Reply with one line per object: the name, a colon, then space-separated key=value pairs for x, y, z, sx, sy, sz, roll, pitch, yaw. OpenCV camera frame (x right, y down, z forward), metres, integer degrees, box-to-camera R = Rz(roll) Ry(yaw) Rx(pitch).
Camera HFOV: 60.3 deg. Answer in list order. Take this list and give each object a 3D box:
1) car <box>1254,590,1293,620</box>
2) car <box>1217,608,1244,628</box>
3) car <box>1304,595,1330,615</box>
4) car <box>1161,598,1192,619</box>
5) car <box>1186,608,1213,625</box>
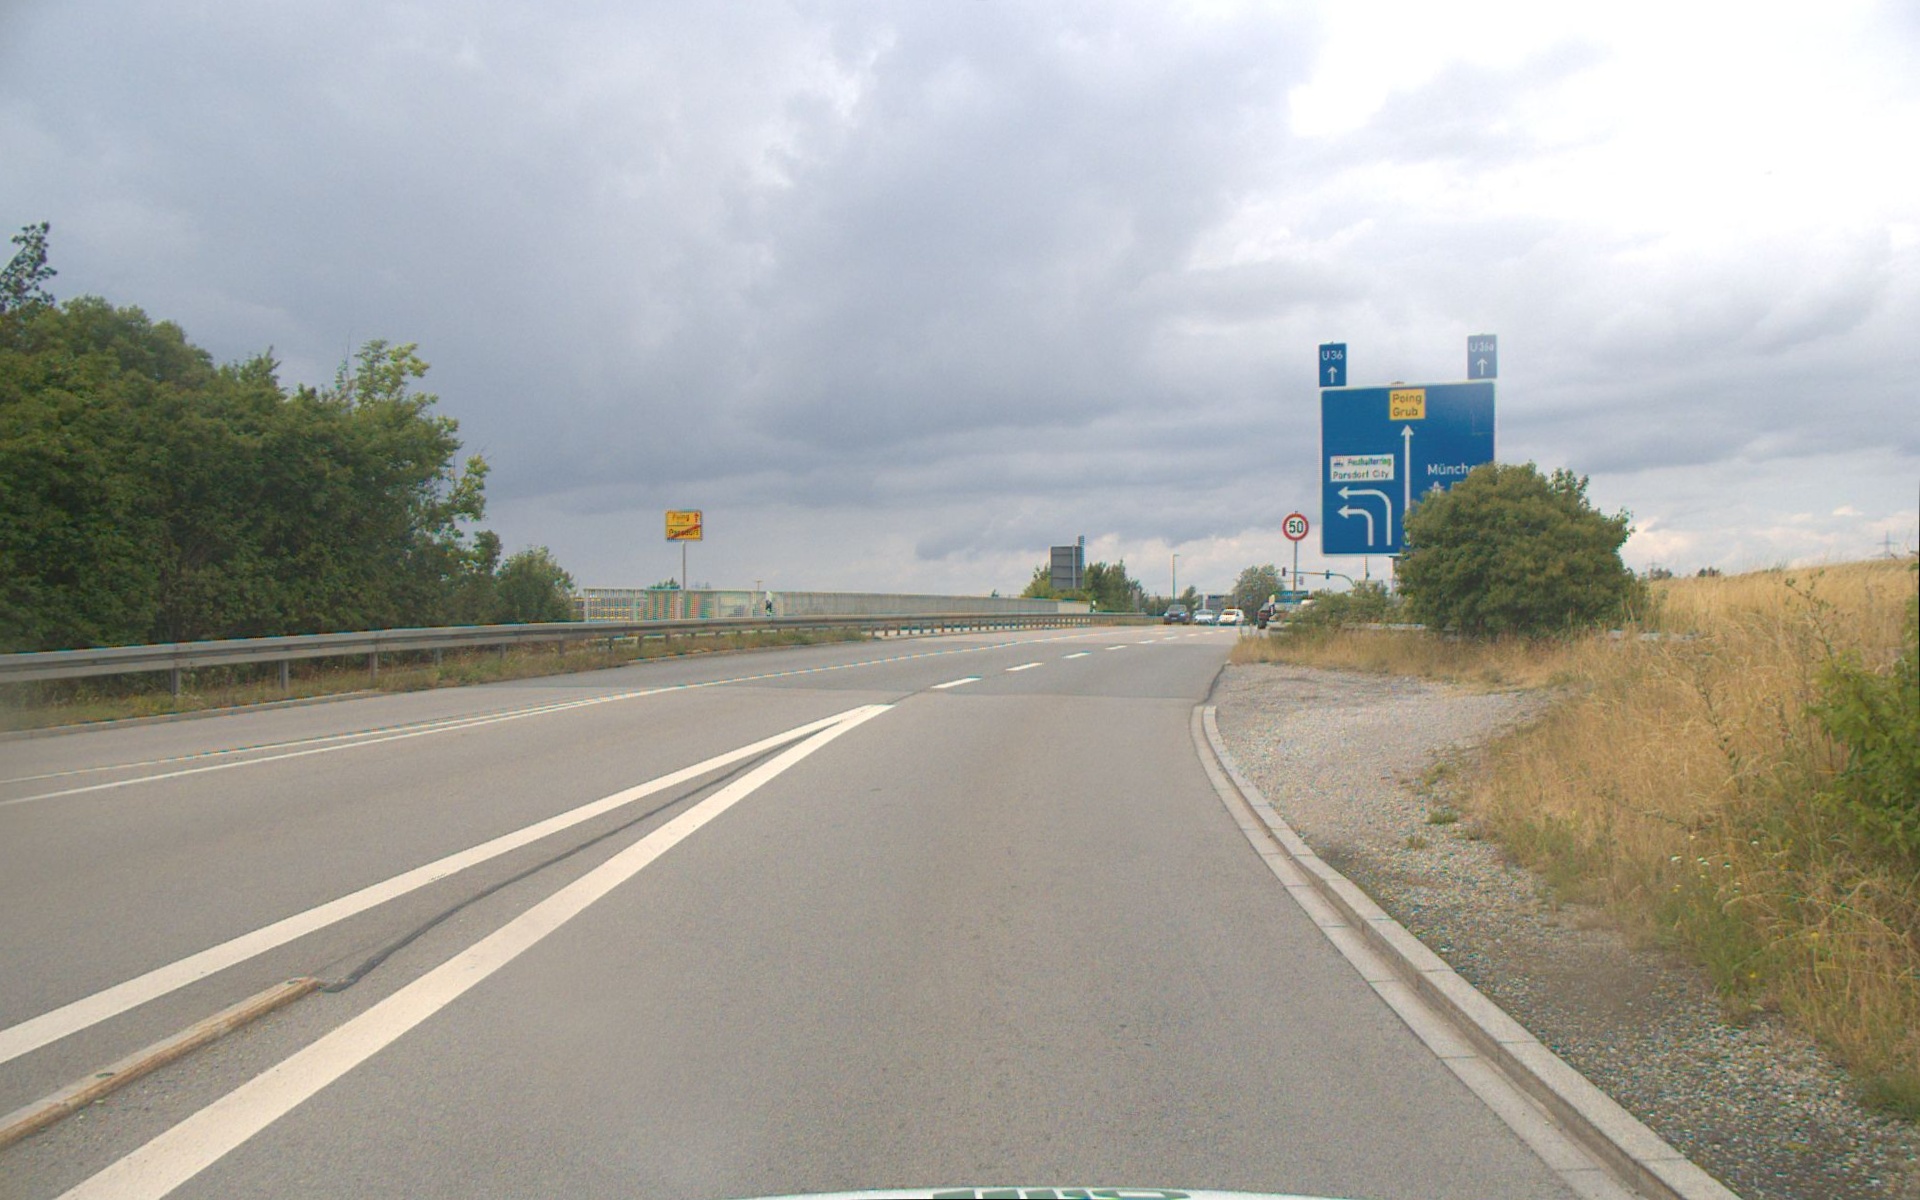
car: x=16.165 y=0.260 z=85.181 sx=1.486 sy=1.511 sz=3.617 roll=0 pitch=-1 yaw=18
car: x=29.016 y=1.933 z=177.265 sx=1.913 sy=1.907 sz=4.821 roll=4 pitch=2 yaw=20
car: x=28.412 y=0.392 z=131.496 sx=1.646 sy=1.571 sz=3.617 roll=0 pitch=-1 yaw=18
car: x=19.345 y=0.814 z=147.744 sx=1.952 sy=1.762 sz=4.763 roll=-1 pitch=-2 yaw=18
car: x=23.401 y=1.570 z=161.713 sx=1.676 sy=1.512 sz=4.280 roll=4 pitch=2 yaw=20
